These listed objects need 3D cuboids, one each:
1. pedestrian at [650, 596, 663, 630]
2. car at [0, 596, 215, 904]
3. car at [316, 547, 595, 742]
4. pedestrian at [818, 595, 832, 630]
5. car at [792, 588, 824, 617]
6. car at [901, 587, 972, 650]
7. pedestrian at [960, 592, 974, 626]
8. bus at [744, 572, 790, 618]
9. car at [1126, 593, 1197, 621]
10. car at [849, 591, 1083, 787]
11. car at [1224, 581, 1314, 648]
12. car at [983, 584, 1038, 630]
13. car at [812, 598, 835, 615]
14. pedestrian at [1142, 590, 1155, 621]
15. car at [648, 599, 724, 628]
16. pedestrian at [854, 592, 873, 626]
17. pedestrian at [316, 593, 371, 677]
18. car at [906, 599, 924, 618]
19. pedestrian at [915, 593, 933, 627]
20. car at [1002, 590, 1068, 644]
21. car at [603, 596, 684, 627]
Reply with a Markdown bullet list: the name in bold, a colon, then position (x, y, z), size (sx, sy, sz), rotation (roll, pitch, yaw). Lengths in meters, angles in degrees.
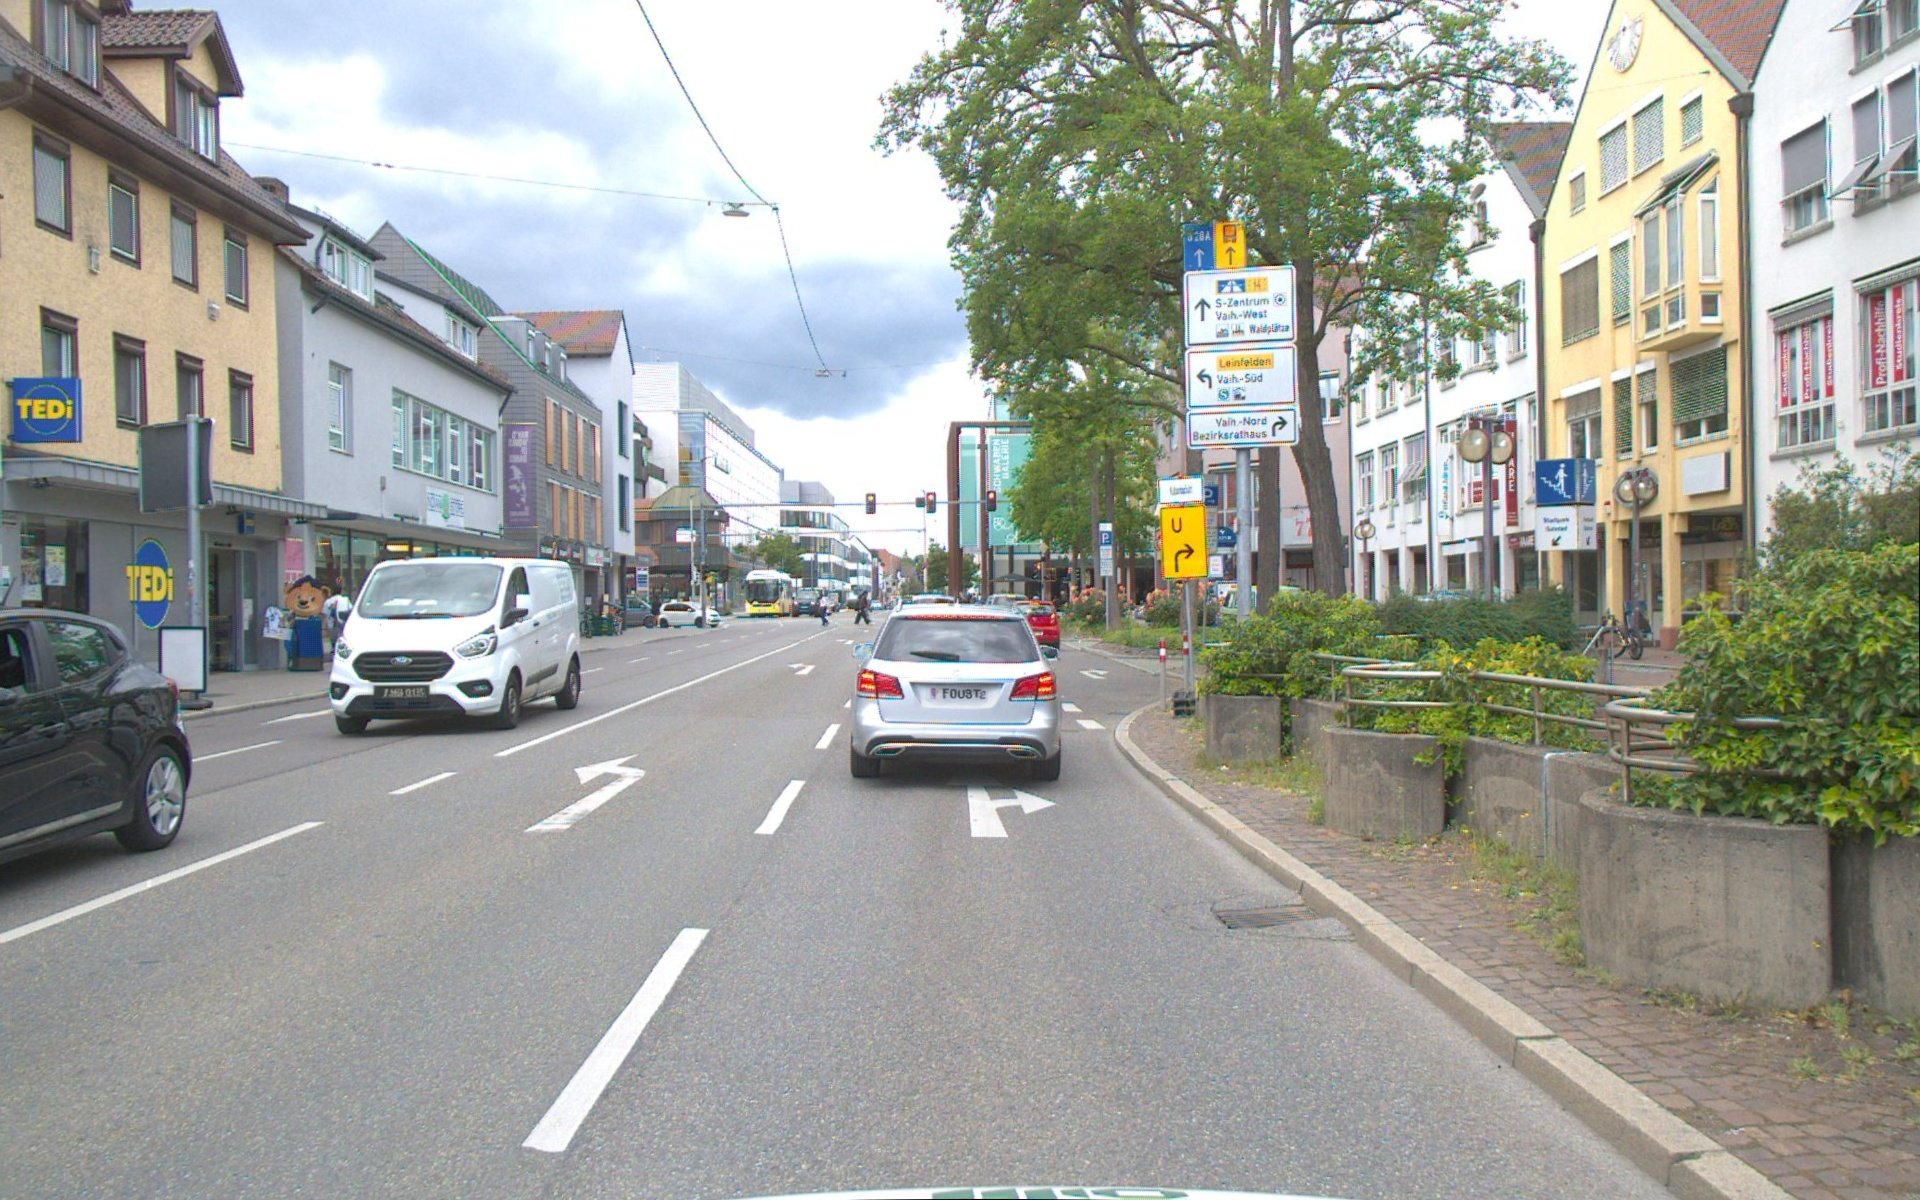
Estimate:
- **pedestrian**: position (-15.475, 0.668, 84.339), size (0.576, 1.699, 0.639), rotation (2, 0, -14)
- **car**: position (-5.349, 0.729, 8.189), size (1.584, 1.453, 3.921), rotation (-2, 0, -1)
- **car**: position (-5.941, 0.474, 20.195), size (1.922, 1.995, 5.138), rotation (-2, 0, -2)
- **pedestrian**: position (-6.560, 0.589, 80.271), size (0.602, 1.663, 0.586), rotation (2, 0, -10)
- **car**: position (-11.004, 0.174, 119.853), size (1.953, 2.049, 3.999), rotation (-1, 0, -1)
- **car**: position (-0.675, 0.507, 47.632), size (1.953, 1.713, 3.999), rotation (-1, 0, -1)
- **pedestrian**: position (0.358, 0.430, 81.131), size (0.601, 1.663, 0.587), rotation (2, 0, -5)
- **bus**: position (-14.053, -0.379, 120.922), size (2.719, 3.220, 5.931), rotation (-1, 0, -1)
- **car**: position (11.923, 0.417, 98.013), size (4.016, 1.568, 1.580), rotation (-1, 0, 0)
- **car**: position (-0.053, 0.705, 15.042), size (1.837, 1.532, 3.997), rotation (0, 0, -3)
- **car**: position (9.152, 0.406, 49.235), size (1.829, 1.897, 3.999), rotation (-1, 0, -1)
- **car**: position (1.975, 0.271, 65.451), size (1.953, 1.713, 3.999), rotation (-1, 0, -1)
- **car**: position (-10.818, 0.497, 130.890), size (1.543, 1.266, 3.606), rotation (-1, 0, -1)
- **pedestrian**: position (10.467, 0.306, 91.920), size (0.600, 1.663, 0.588), rotation (2, 0, 12)
- **car**: position (-15.242, 0.742, 92.104), size (3.906, 1.557, 1.666), rotation (-1, 0, 23)
- **pedestrian**: position (-4.800, 0.448, 82.274), size (0.840, 1.663, 0.588), rotation (2, 0, 0)
- **pedestrian**: position (-12.371, 0.689, 33.216), size (0.801, 1.663, 0.979), rotation (1, 0, -7)
- **car**: position (-4.942, 0.941, 182.504), size (1.953, 2.049, 3.999), rotation (-1, 0, -2)
- **pedestrian**: position (-1.790, 0.506, 82.136), size (0.817, 1.663, 0.587), rotation (2, 0, -5)
- **car**: position (2.251, 0.519, 50.605), size (1.719, 1.547, 3.999), rotation (1, 0, -1)
- **car**: position (-19.430, 0.693, 101.497), size (4.824, 1.855, 1.993), rotation (0, 0, -14)
